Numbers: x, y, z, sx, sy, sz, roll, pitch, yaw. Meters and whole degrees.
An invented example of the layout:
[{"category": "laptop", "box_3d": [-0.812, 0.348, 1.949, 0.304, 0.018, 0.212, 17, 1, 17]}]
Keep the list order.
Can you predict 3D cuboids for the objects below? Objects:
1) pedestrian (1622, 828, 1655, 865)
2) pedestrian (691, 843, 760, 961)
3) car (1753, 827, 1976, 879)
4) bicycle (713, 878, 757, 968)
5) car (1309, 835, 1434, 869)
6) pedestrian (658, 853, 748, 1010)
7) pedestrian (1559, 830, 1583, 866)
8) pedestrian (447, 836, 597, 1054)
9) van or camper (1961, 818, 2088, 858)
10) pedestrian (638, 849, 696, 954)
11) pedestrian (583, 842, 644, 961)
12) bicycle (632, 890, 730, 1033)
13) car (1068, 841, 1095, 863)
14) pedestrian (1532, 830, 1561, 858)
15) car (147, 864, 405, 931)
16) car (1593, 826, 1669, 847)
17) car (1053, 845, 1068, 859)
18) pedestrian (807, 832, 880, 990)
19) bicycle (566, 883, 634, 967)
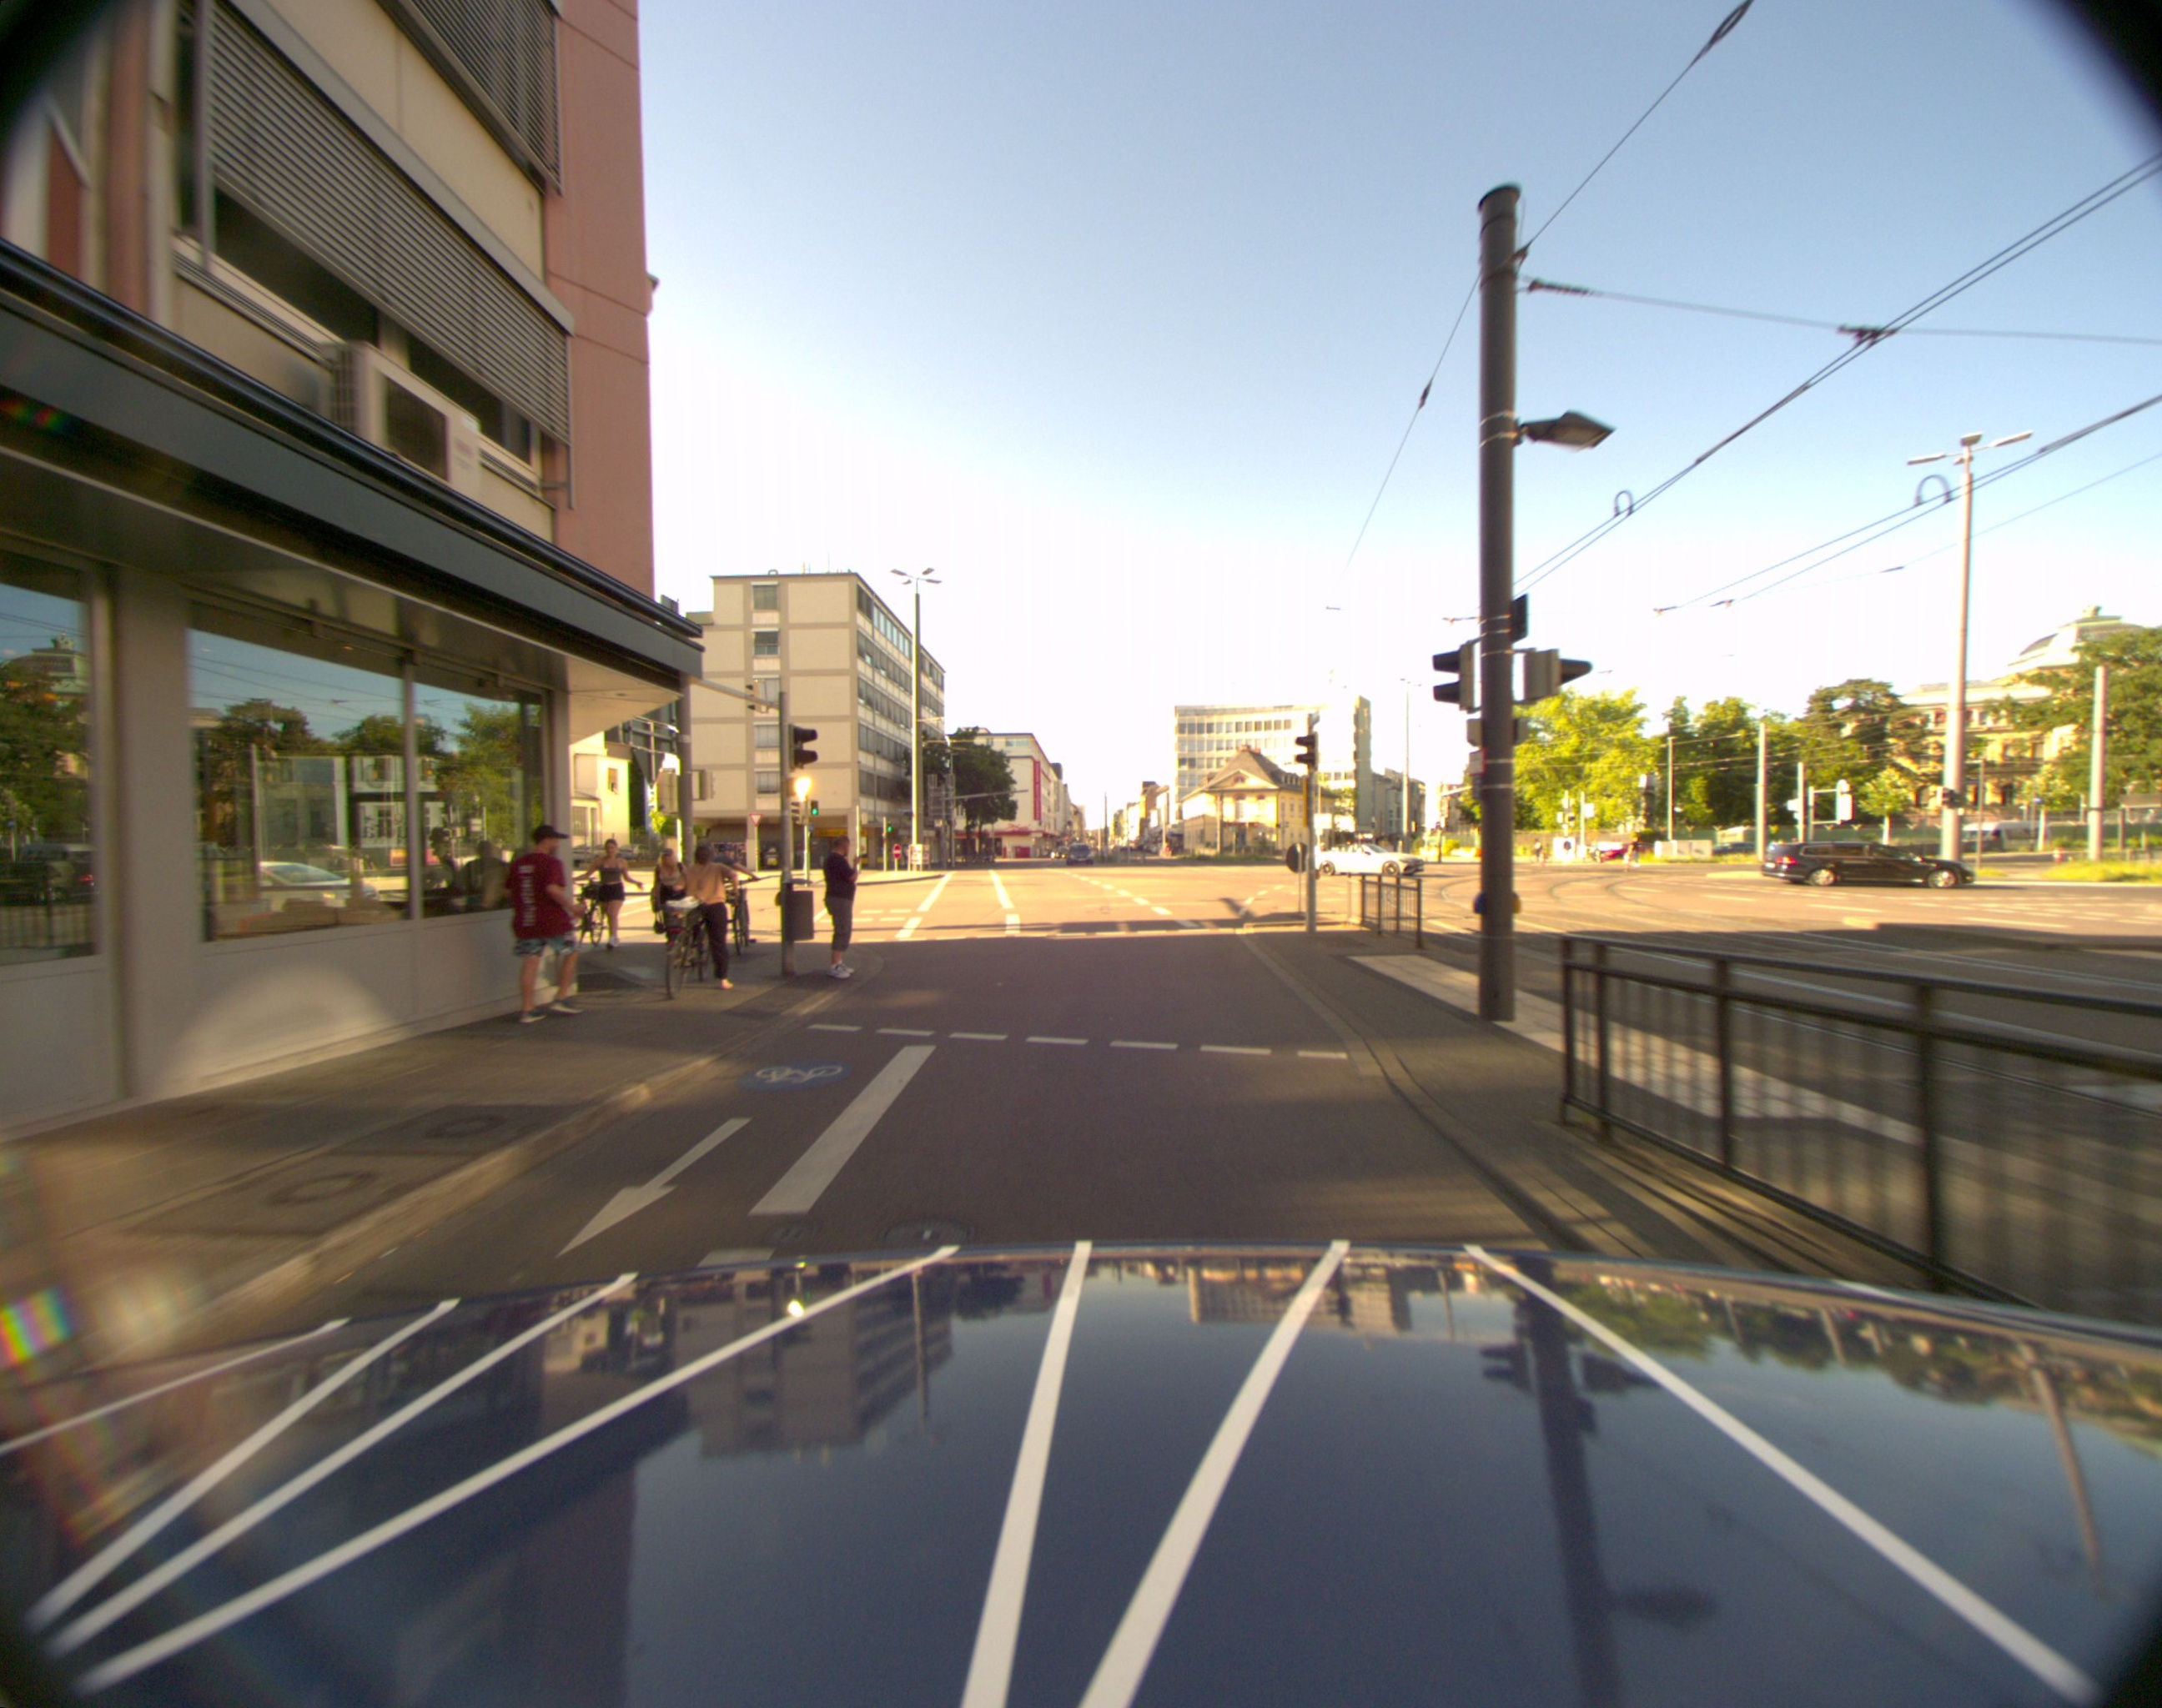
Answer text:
[{"category": "pedestrian", "box_3d": [31.196, -0.413, 42.512, 1.442, 2.002, 1.181, -1, 3, 37]}, {"category": "pedestrian", "box_3d": [-5.453, 0.702, 11.693, 0.829, 1.701, 0.783, -4, 2, -25]}, {"category": "car", "box_3d": [24.722, -0.047, 24.231, 4.524, 1.527, 2.003, 0, 2, 23]}, {"category": "bicycle", "box_3d": [-5.221, 1.001, 11.531, 0.483, 1.166, 1.756, -4, 2, -23]}, {"category": "car", "box_3d": [12.567, -0.106, 33.069, 2.004, 1.351, 4.679, -3, 2, -43]}, {"category": "pedestrian", "box_3d": [-4.079, 0.805, 8.248, 0.654, 1.598, 0.595, -3, 2, -12]}, {"category": "pedestrian", "box_3d": [28.537, -0.331, 44.296, 1.108, 2.002, 1.215, -2, 2, 31]}, {"category": "pedestrian", "box_3d": [-4.771, 0.733, 6.536, 0.671, 1.752, 0.679, -3, 2, -5]}, {"category": "van or camper", "box_3d": [49.257, -0.827, 39.728, 3.996, 2.002, 2.000, -1, 2, 3]}, {"category": "pedestrian", "box_3d": [-6.750, 0.747, 12.375, 0.670, 1.614, 0.648, -4, 3, -35]}, {"category": "pedestrian", "box_3d": [-7.294, 0.711, 11.844, 0.670, 1.769, 0.648, -4, 3, -34]}, {"category": "bicycle", "box_3d": [-4.185, 1.055, 8.063, 0.430, 1.207, 1.822, -3, 2, -14]}, {"category": "car", "box_3d": [0.002, -0.179, 58.020, 1.999, 1.496, 3.998, -1, 2, -1]}, {"category": "pedestrian", "box_3d": [34.676, -0.746, 56.615, 1.530, 2.002, 1.662, -2, 2, 21]}, {"category": "car", "box_3d": [-19.710, 1.029, 18.807, 4.000, 1.376, 1.865, -1, 2, -10]}, {"category": "car", "box_3d": [39.141, -1.265, 54.099, 4.124, 1.351, 1.929, -1, 2, -6]}, {"category": "car", "box_3d": [-2.409, -0.278, 89.154, 1.771, 1.458, 3.811, -2, 2, -2]}, {"category": "pedestrian", "box_3d": [-2.882, 0.668, 9.284, 0.680, 1.832, 0.606, -3, 2, -11]}, {"category": "bicycle", "box_3d": [-7.447, 1.051, 11.729, 0.685, 1.060, 1.782, -6, 4, -36]}]
